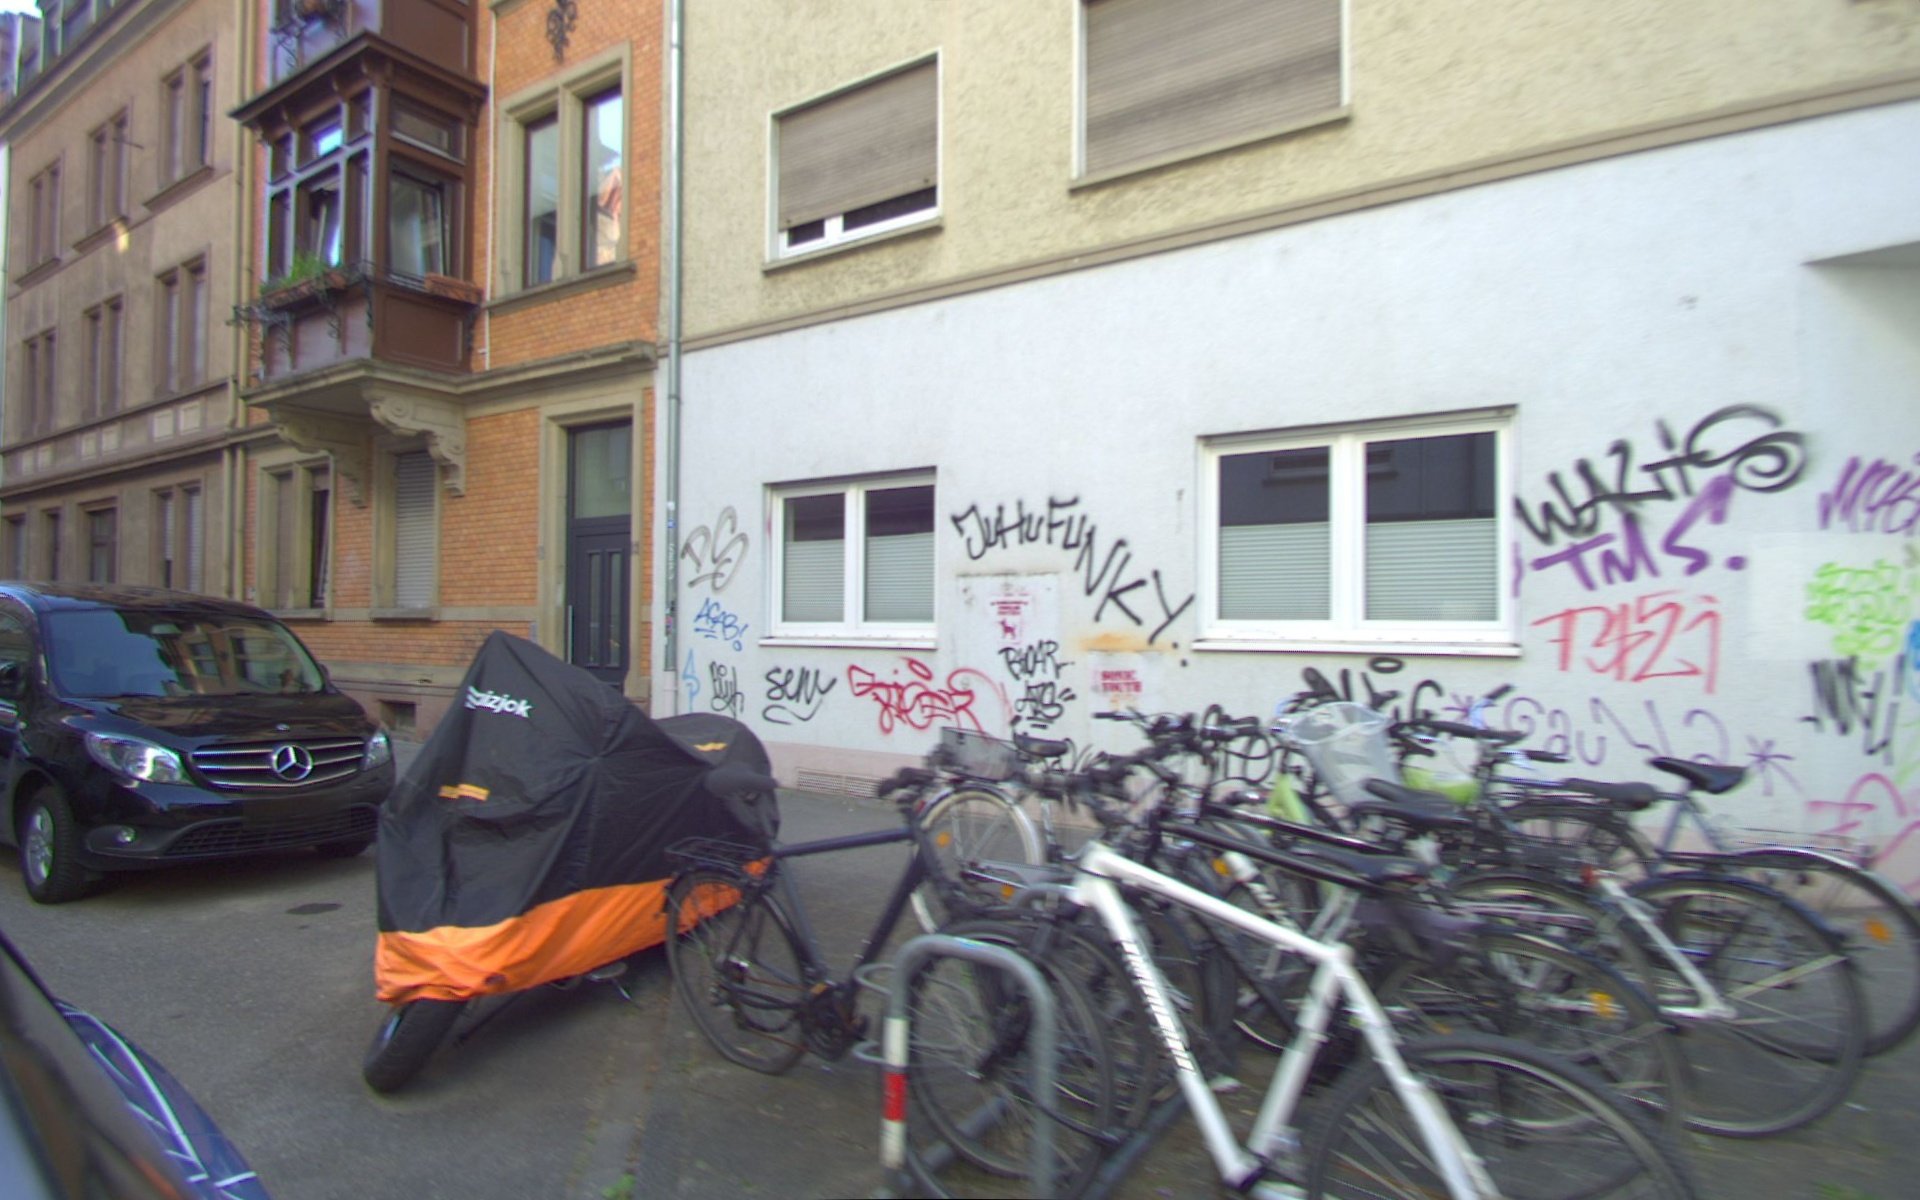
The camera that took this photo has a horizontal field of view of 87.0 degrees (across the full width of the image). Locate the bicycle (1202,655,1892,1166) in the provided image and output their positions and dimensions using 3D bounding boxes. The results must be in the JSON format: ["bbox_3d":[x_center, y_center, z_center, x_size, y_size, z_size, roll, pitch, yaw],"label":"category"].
[{"bbox_3d":[1.622,0.798,3.075,1.694,1.237,0.292,-3,-3,33],"label":"bicycle"}]

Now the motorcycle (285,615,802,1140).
[{"bbox_3d":[-1.419,0.825,4.205,0.892,1.493,2.515,0,-2,6],"label":"motorcycle"}]

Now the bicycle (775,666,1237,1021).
[{"bbox_3d":[0.147,0.885,4.194,1.863,1.164,0.543,0,-2,29],"label":"bicycle"}]

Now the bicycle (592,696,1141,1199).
[{"bbox_3d":[-0.347,0.902,2.881,1.662,1.149,0.421,-1,0,35],"label":"bicycle"}]

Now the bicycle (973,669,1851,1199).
[{"bbox_3d":[0.934,0.798,2.531,1.867,1.237,0.396,-3,-4,32],"label":"bicycle"}]

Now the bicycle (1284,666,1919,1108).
[{"bbox_3d":[2.198,0.854,3.448,2.023,1.237,0.396,-3,-3,33],"label":"bicycle"}]

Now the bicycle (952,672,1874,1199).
[{"bbox_3d":[0.725,0.764,1.967,1.500,1.237,0.396,-3,-4,32],"label":"bicycle"}]

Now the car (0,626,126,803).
[{"bbox_3d":[-9.522,0.983,9.455,3.634,1.460,1.663,-1,-2,33],"label":"car"}]

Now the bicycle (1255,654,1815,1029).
[{"bbox_3d":[2.149,0.848,4.023,1.809,1.237,0.396,-3,-3,30],"label":"bicycle"}]

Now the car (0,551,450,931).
[{"bbox_3d":[-5.511,0.710,6.646,4.319,1.780,1.806,-1,-2,30],"label":"car"}]

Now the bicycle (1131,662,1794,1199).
[{"bbox_3d":[1.284,0.800,2.847,1.548,1.237,0.360,-3,-4,32],"label":"bicycle"}]

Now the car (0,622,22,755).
[{"bbox_3d":[-13.352,1.035,12.232,3.987,1.564,1.978,-1,-3,33],"label":"car"}]
